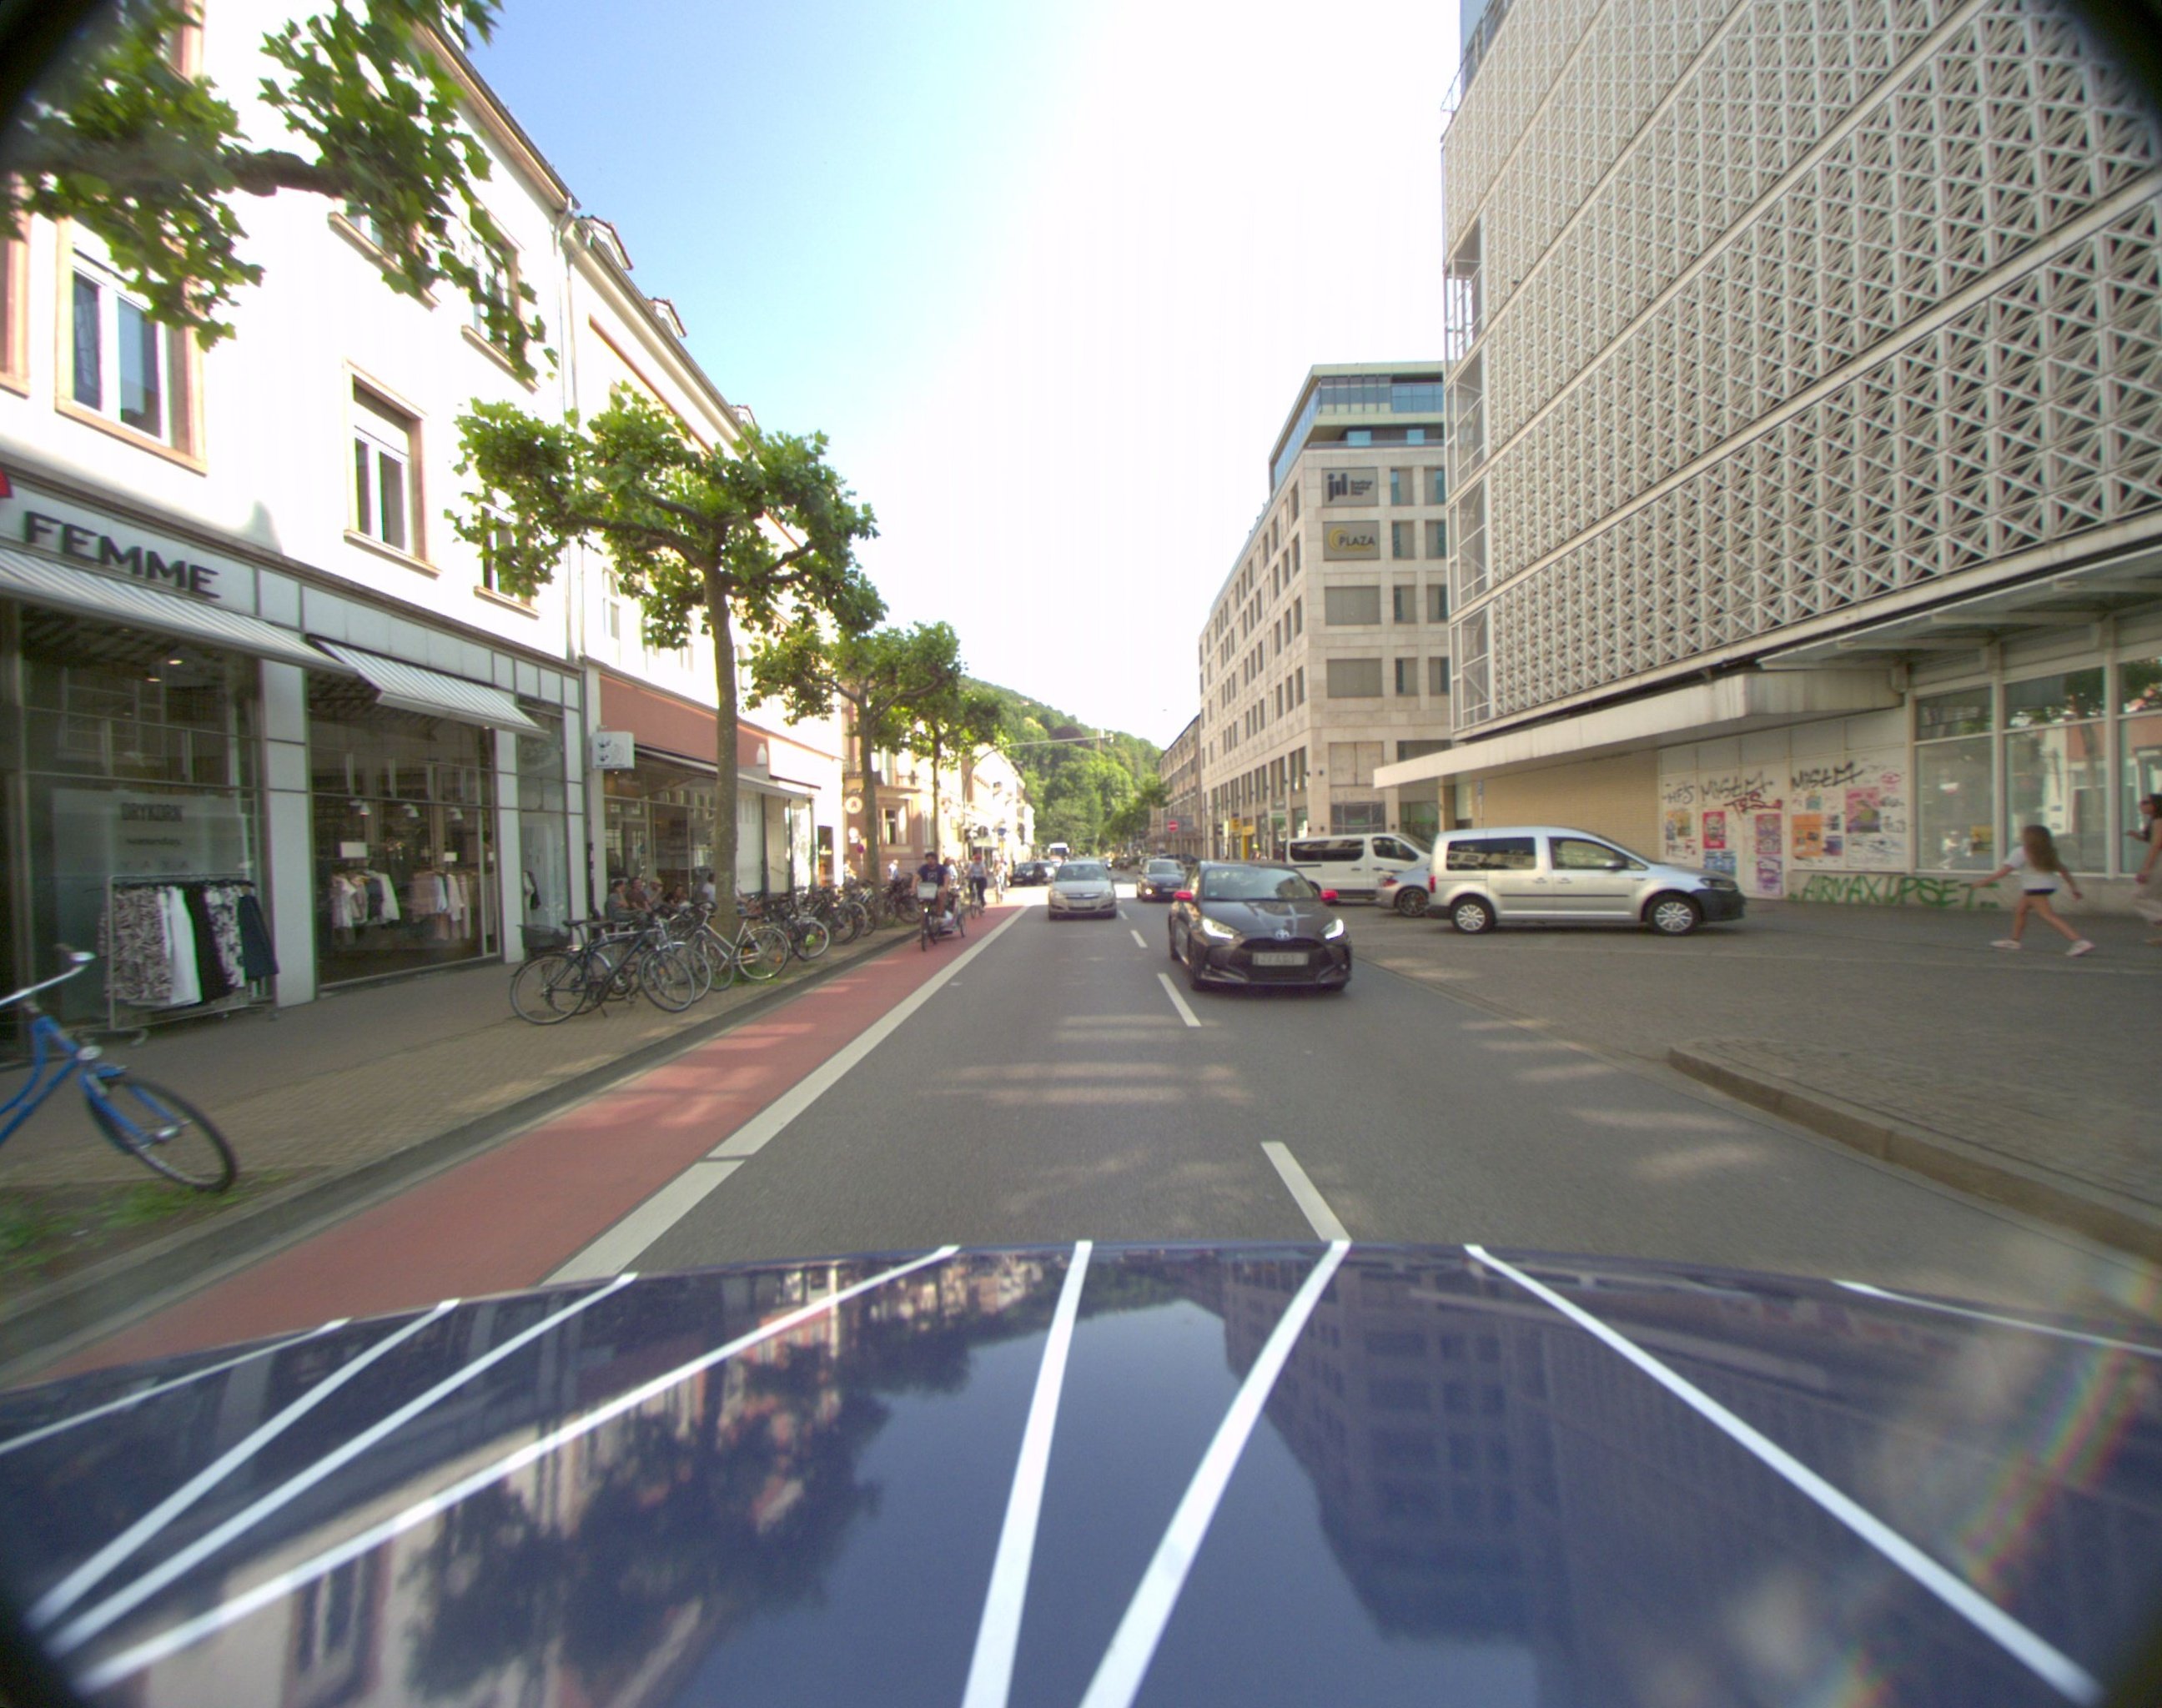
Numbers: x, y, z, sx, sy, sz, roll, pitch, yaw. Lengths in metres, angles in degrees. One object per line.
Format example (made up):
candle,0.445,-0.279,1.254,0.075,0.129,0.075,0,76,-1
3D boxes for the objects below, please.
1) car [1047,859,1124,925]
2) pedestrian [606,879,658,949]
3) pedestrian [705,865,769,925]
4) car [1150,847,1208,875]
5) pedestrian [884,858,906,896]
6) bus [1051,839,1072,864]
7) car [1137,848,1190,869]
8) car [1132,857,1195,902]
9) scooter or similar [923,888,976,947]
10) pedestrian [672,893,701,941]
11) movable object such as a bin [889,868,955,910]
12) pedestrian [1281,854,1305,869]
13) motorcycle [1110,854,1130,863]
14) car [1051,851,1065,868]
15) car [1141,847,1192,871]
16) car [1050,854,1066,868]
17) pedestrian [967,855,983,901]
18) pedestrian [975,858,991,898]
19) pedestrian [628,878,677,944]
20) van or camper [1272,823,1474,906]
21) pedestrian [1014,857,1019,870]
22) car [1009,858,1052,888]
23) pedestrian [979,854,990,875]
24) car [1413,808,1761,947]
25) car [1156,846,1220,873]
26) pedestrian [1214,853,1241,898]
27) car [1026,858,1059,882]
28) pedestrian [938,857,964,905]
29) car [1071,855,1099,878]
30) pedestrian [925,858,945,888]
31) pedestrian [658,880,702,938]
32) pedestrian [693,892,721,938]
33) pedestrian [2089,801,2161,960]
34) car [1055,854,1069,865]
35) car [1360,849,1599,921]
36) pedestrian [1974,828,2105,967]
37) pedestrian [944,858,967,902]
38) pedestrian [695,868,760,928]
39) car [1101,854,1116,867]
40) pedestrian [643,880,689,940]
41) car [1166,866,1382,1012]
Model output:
car,0.038,0.917,20.338,1.791,1.484,4.367,-2,0,-2
pedestrian,-8.977,1.185,15.198,0.683,1.325,0.532,-2,1,-2
pedestrian,-9.020,1.072,19.979,1.255,1.475,0.837,-2,1,-2
car,7.399,0.511,57.396,4.166,1.627,2.103,-5,0,9
pedestrian,-8.284,1.025,33.924,0.640,1.648,0.791,-2,-2,13
bus,-2.941,-0.430,113.842,2.924,3.516,12.497,-1,1,-2
car,7.783,0.462,71.397,4.492,1.424,1.865,-7,0,20
car,2.876,0.857,27.117,1.734,1.389,4.105,-1,1,-1
scooter or similar,-2.671,1.279,15.559,0.785,1.054,1.126,-3,1,2
pedestrian,-8.388,1.337,16.150,0.342,0.962,0.437,-2,1,2
movable object such as a bin,-4.968,1.093,23.799,1.853,1.182,0.653,-4,0,16
pedestrian,13.356,0.477,47.940,1.253,0.920,0.841,-2,0,-1
motorcycle,5.777,0.681,113.164,0.980,1.342,3.094,-1,1,-43
car,-2.987,0.720,98.428,1.703,1.900,4.607,-6,-1,-2
car,7.623,0.450,67.891,4.029,1.584,1.822,-6,0,33
car,-2.833,0.861,92.717,1.799,1.516,4.262,-5,1,-2
pedestrian,-4.233,0.944,30.341,0.453,1.784,0.608,-3,0,-2
pedestrian,-4.235,1.029,32.836,0.641,1.700,0.789,0,3,-3
pedestrian,-8.892,1.171,15.794,0.683,1.330,0.532,-1,1,-2
van or camper,7.846,0.336,20.688,4.648,2.002,2.004,-3,0,40
pedestrian,-7.904,1.158,92.998,0.482,1.659,0.868,-1,1,0
car,-2.916,1.087,44.789,1.631,1.470,3.733,-2,2,9
pedestrian,-8.227,0.864,64.881,0.840,1.781,0.767,-1,1,1
car,8.109,0.375,12.530,4.434,1.898,2.013,-2,0,37
car,7.616,0.419,53.984,4.025,1.593,1.961,-4,1,23
pedestrian,5.275,0.767,27.362,0.641,1.550,0.680,-3,0,-11
car,-2.556,1.025,51.438,1.957,1.416,4.885,-3,0,-1
pedestrian,-4.968,1.037,29.114,0.789,1.784,0.641,-3,0,-2
car,0.265,0.859,51.548,1.775,1.469,4.107,0,-1,0
pedestrian,-8.264,1.047,42.988,0.904,1.603,0.974,-2,4,-28
pedestrian,-8.924,1.212,16.938,0.641,1.246,0.608,0,2,-2
pedestrian,-8.280,1.343,16.816,0.365,0.962,0.437,-2,1,2
pedestrian,11.745,0.262,8.209,0.789,1.651,0.641,-5,1,-2
car,-2.621,0.760,103.443,1.868,1.479,4.414,-2,0,-2
car,8.493,0.679,16.387,4.288,1.279,1.974,-4,0,32
pedestrian,10.500,0.451,8.345,0.594,1.428,0.641,-5,2,-2
pedestrian,-4.945,1.026,30.005,0.789,1.680,0.641,-2,0,-2
pedestrian,-8.868,1.094,19.116,1.236,1.414,0.789,-1,2,-2
car,3.330,0.761,92.034,1.734,1.389,4.106,-2,0,0
pedestrian,-8.915,1.195,16.339,0.683,1.246,0.532,0,0,-2
car,2.184,0.896,9.759,1.868,1.469,4.107,0,-1,2
